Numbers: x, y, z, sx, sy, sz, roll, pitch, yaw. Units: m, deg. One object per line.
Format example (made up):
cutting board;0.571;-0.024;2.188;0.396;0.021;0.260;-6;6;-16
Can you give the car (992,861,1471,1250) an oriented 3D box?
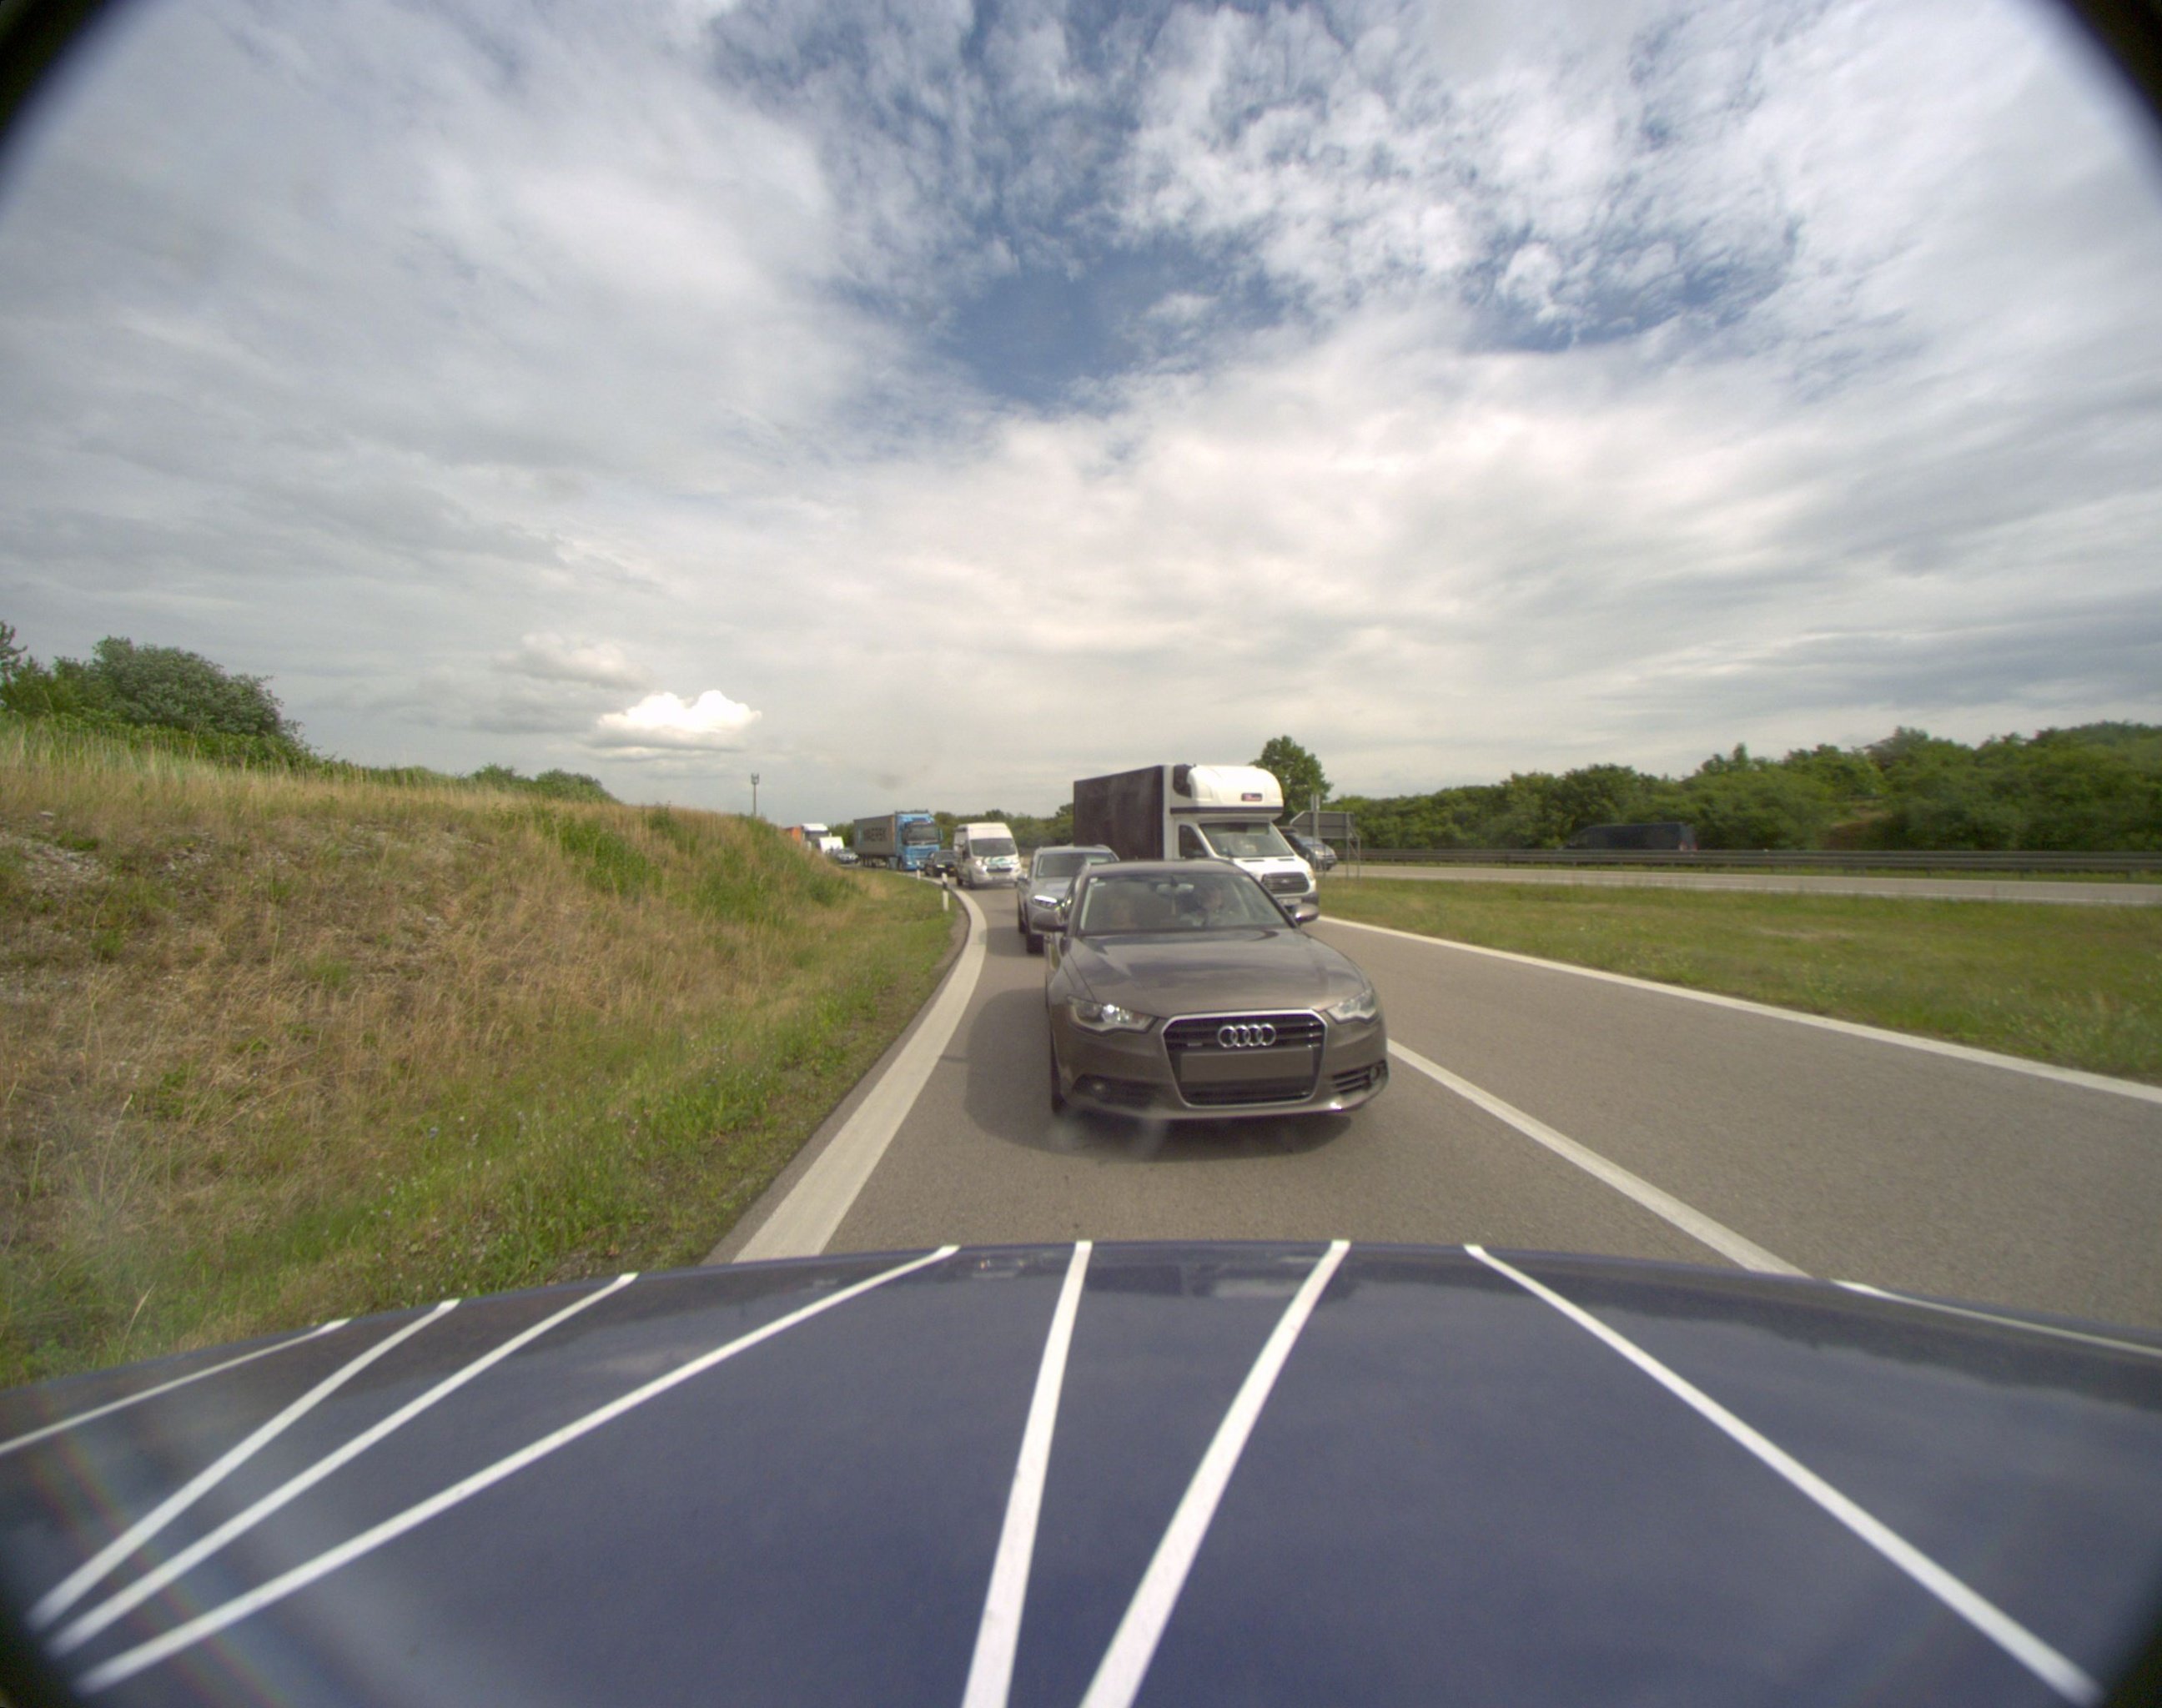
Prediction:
car;0.624;0.878;5.493;1.999;1.505;4.537;-2;1;-1

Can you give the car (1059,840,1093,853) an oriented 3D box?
car;-0.604;-0.872;86.048;1.816;1.478;3.989;-2;2;-35

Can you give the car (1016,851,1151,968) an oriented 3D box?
car;-0.128;0.781;12.903;1.843;1.587;4.171;-1;1;-6

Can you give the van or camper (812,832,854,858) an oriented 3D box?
van or camper;-24.551;-0.965;75.058;2.557;2.200;5.693;-3;5;-31

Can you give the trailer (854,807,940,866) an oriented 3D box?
trailer;-14.754;-1.212;59.918;3.280;4.137;11.989;-3;1;-29

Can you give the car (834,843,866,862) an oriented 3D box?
car;-21.253;-0.164;69.858;2.003;1.521;3.990;-2;2;-29

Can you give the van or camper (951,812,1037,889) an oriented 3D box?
van or camper;-3.801;-0.143;31.908;2.401;2.892;5.711;-3;1;-18

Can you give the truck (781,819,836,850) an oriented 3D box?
truck;-30.615;-2.085;84.960;3.131;3.220;11.131;-2;1;-34

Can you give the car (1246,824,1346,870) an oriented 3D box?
car;11.014;-0.397;39.229;2.003;2.246;4.795;-2;2;-34

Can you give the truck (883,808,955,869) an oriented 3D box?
truck;-11.601;-1.044;53.884;3.184;4.049;6.632;-3;1;-27

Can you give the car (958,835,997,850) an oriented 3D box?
car;-10.887;-1.207;79.584;2.003;1.590;4.715;-2;2;-35

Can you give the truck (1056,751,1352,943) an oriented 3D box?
truck;2.085;-0.138;16.371;2.571;3.149;7.453;-3;1;-24

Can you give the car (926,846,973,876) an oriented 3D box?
car;-7.553;0.356;43.452;2.002;1.609;3.992;-1;1;-19

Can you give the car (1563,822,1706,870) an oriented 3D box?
car;30.185;-0.389;41.668;2.146;2.421;5.953;-3;1;-34
